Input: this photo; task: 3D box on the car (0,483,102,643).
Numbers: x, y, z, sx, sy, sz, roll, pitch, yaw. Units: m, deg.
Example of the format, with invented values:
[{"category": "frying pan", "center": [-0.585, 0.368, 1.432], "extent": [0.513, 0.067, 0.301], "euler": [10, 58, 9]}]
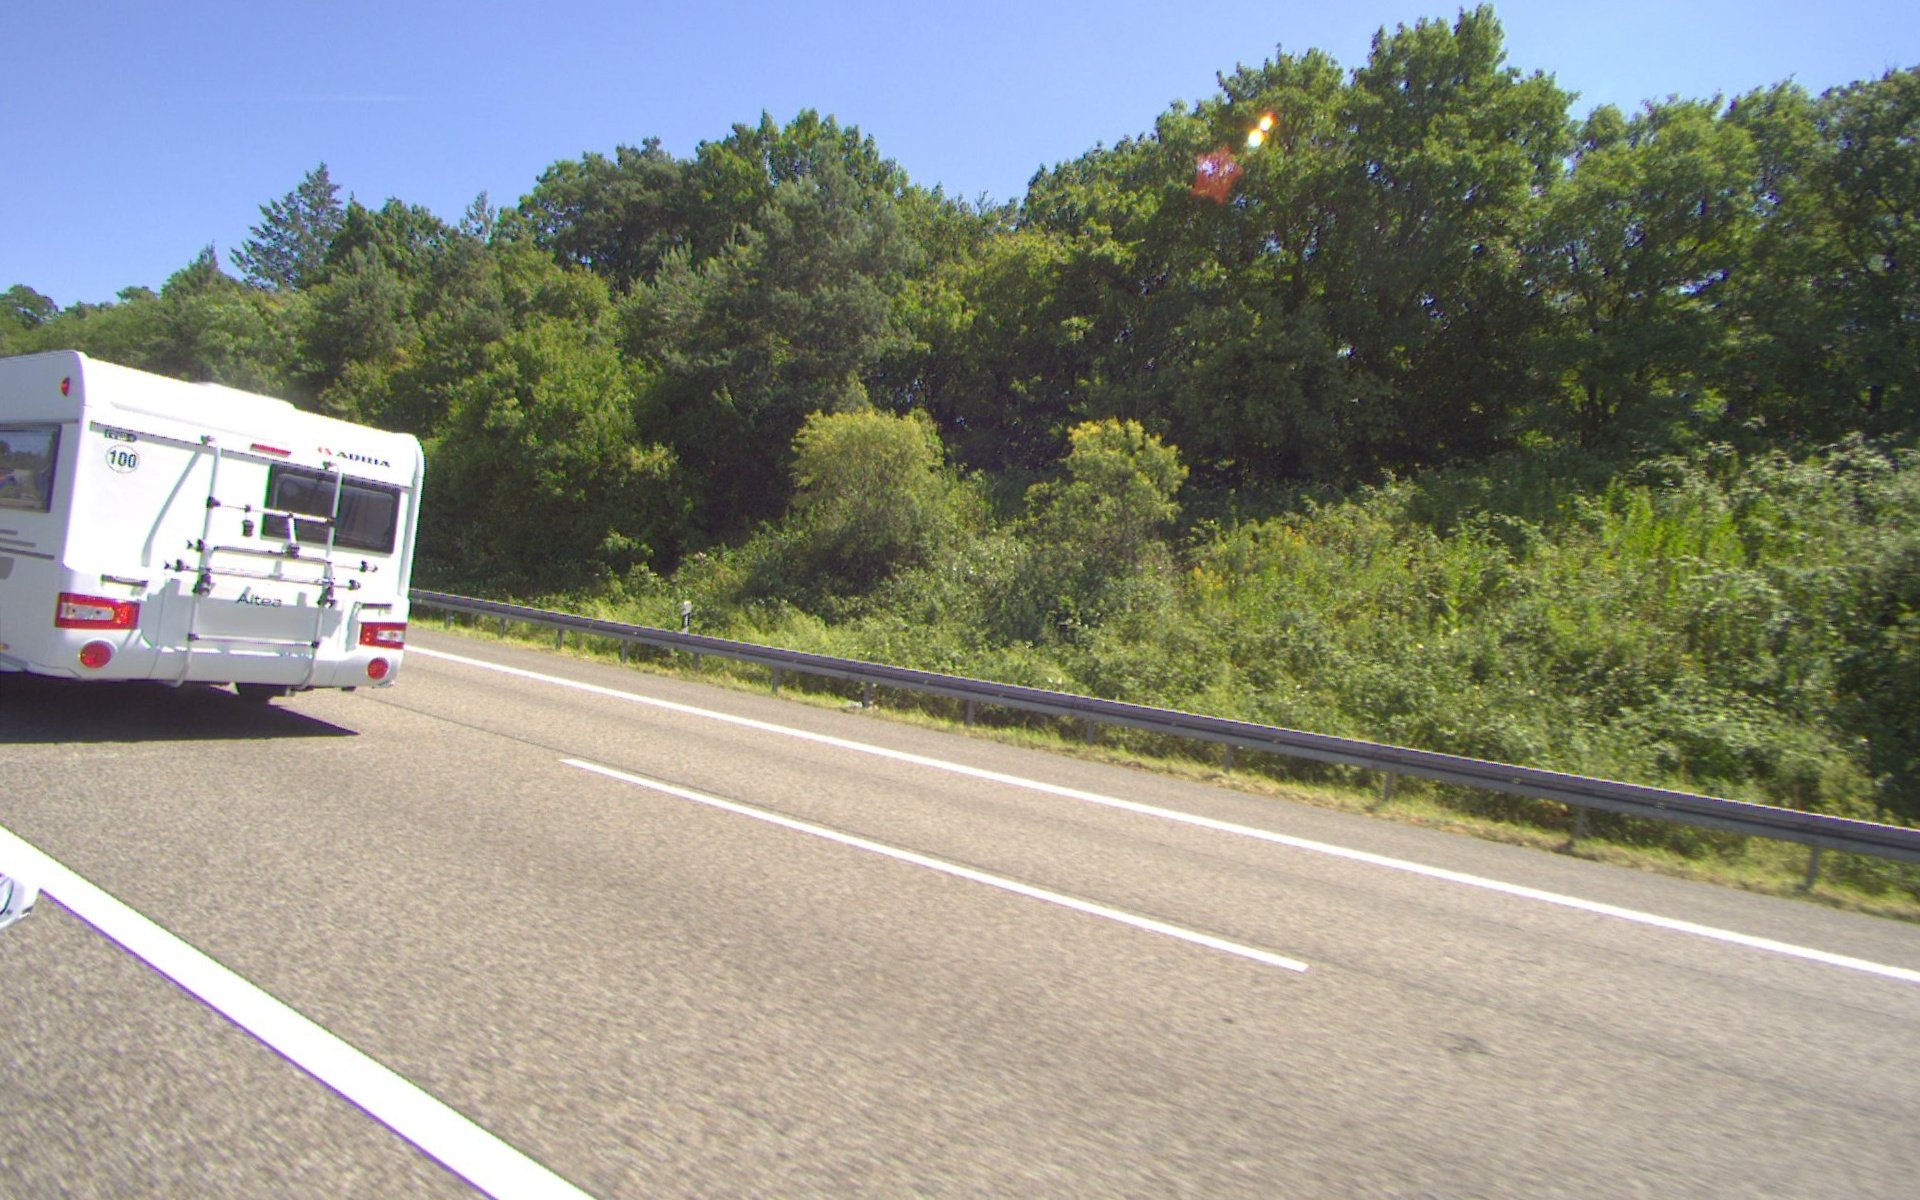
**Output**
[{"category": "car", "center": [-11.950, -0.615, 11.493], "extent": [4.624, 1.632, 1.881], "euler": [6, 0, 32]}]

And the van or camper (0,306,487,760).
[{"category": "van or camper", "center": [-7.204, -0.607, 8.630], "extent": [6.244, 2.707, 2.442], "euler": [7, 0, 31]}]
